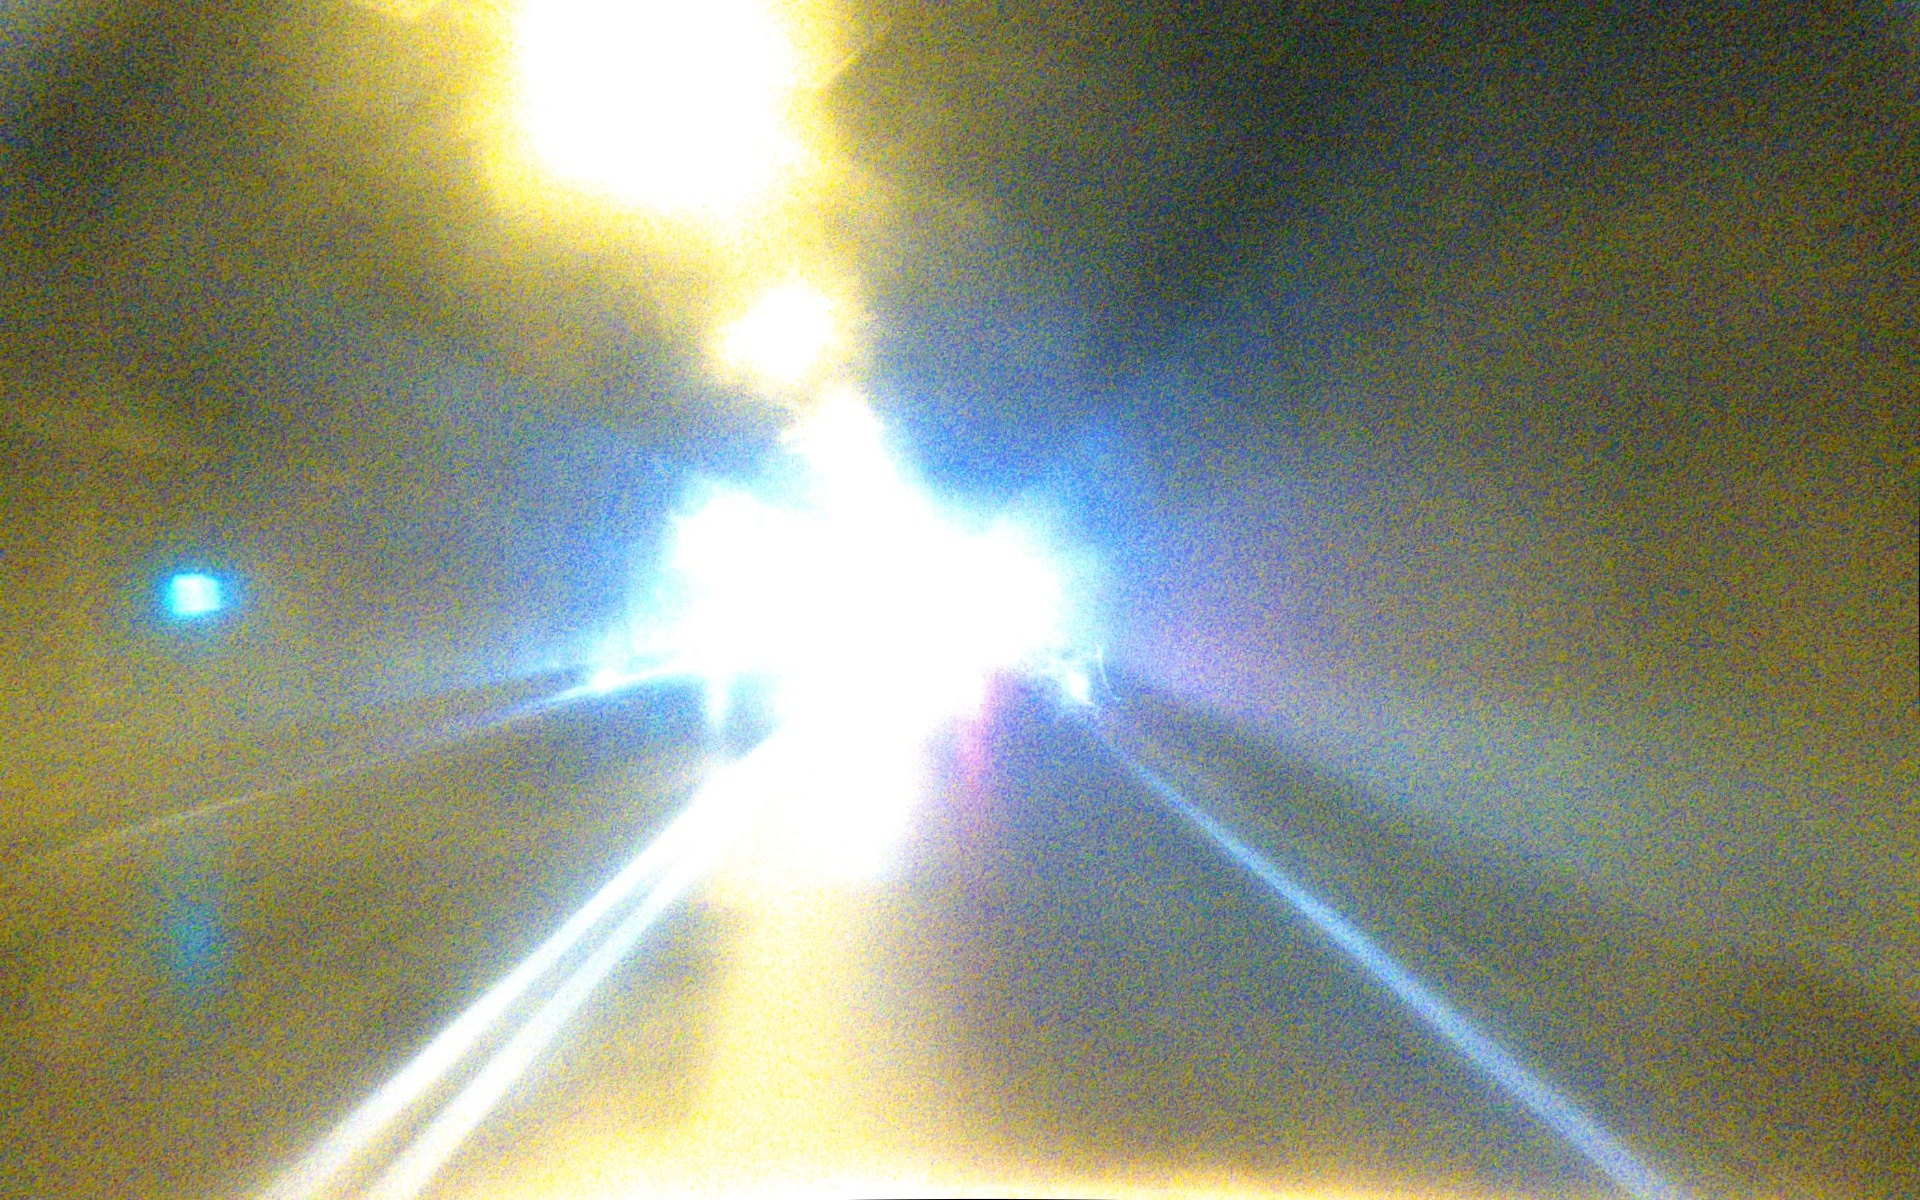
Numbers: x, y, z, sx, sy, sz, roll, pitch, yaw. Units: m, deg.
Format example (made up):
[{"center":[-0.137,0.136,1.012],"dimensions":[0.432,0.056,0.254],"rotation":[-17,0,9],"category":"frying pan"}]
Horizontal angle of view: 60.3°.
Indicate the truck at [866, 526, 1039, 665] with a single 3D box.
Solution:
[{"center":[-0.206,-0.110,38.178],"dimensions":[3.463,2.740,8.954],"rotation":[-2,0,-1],"category":"truck"}]
